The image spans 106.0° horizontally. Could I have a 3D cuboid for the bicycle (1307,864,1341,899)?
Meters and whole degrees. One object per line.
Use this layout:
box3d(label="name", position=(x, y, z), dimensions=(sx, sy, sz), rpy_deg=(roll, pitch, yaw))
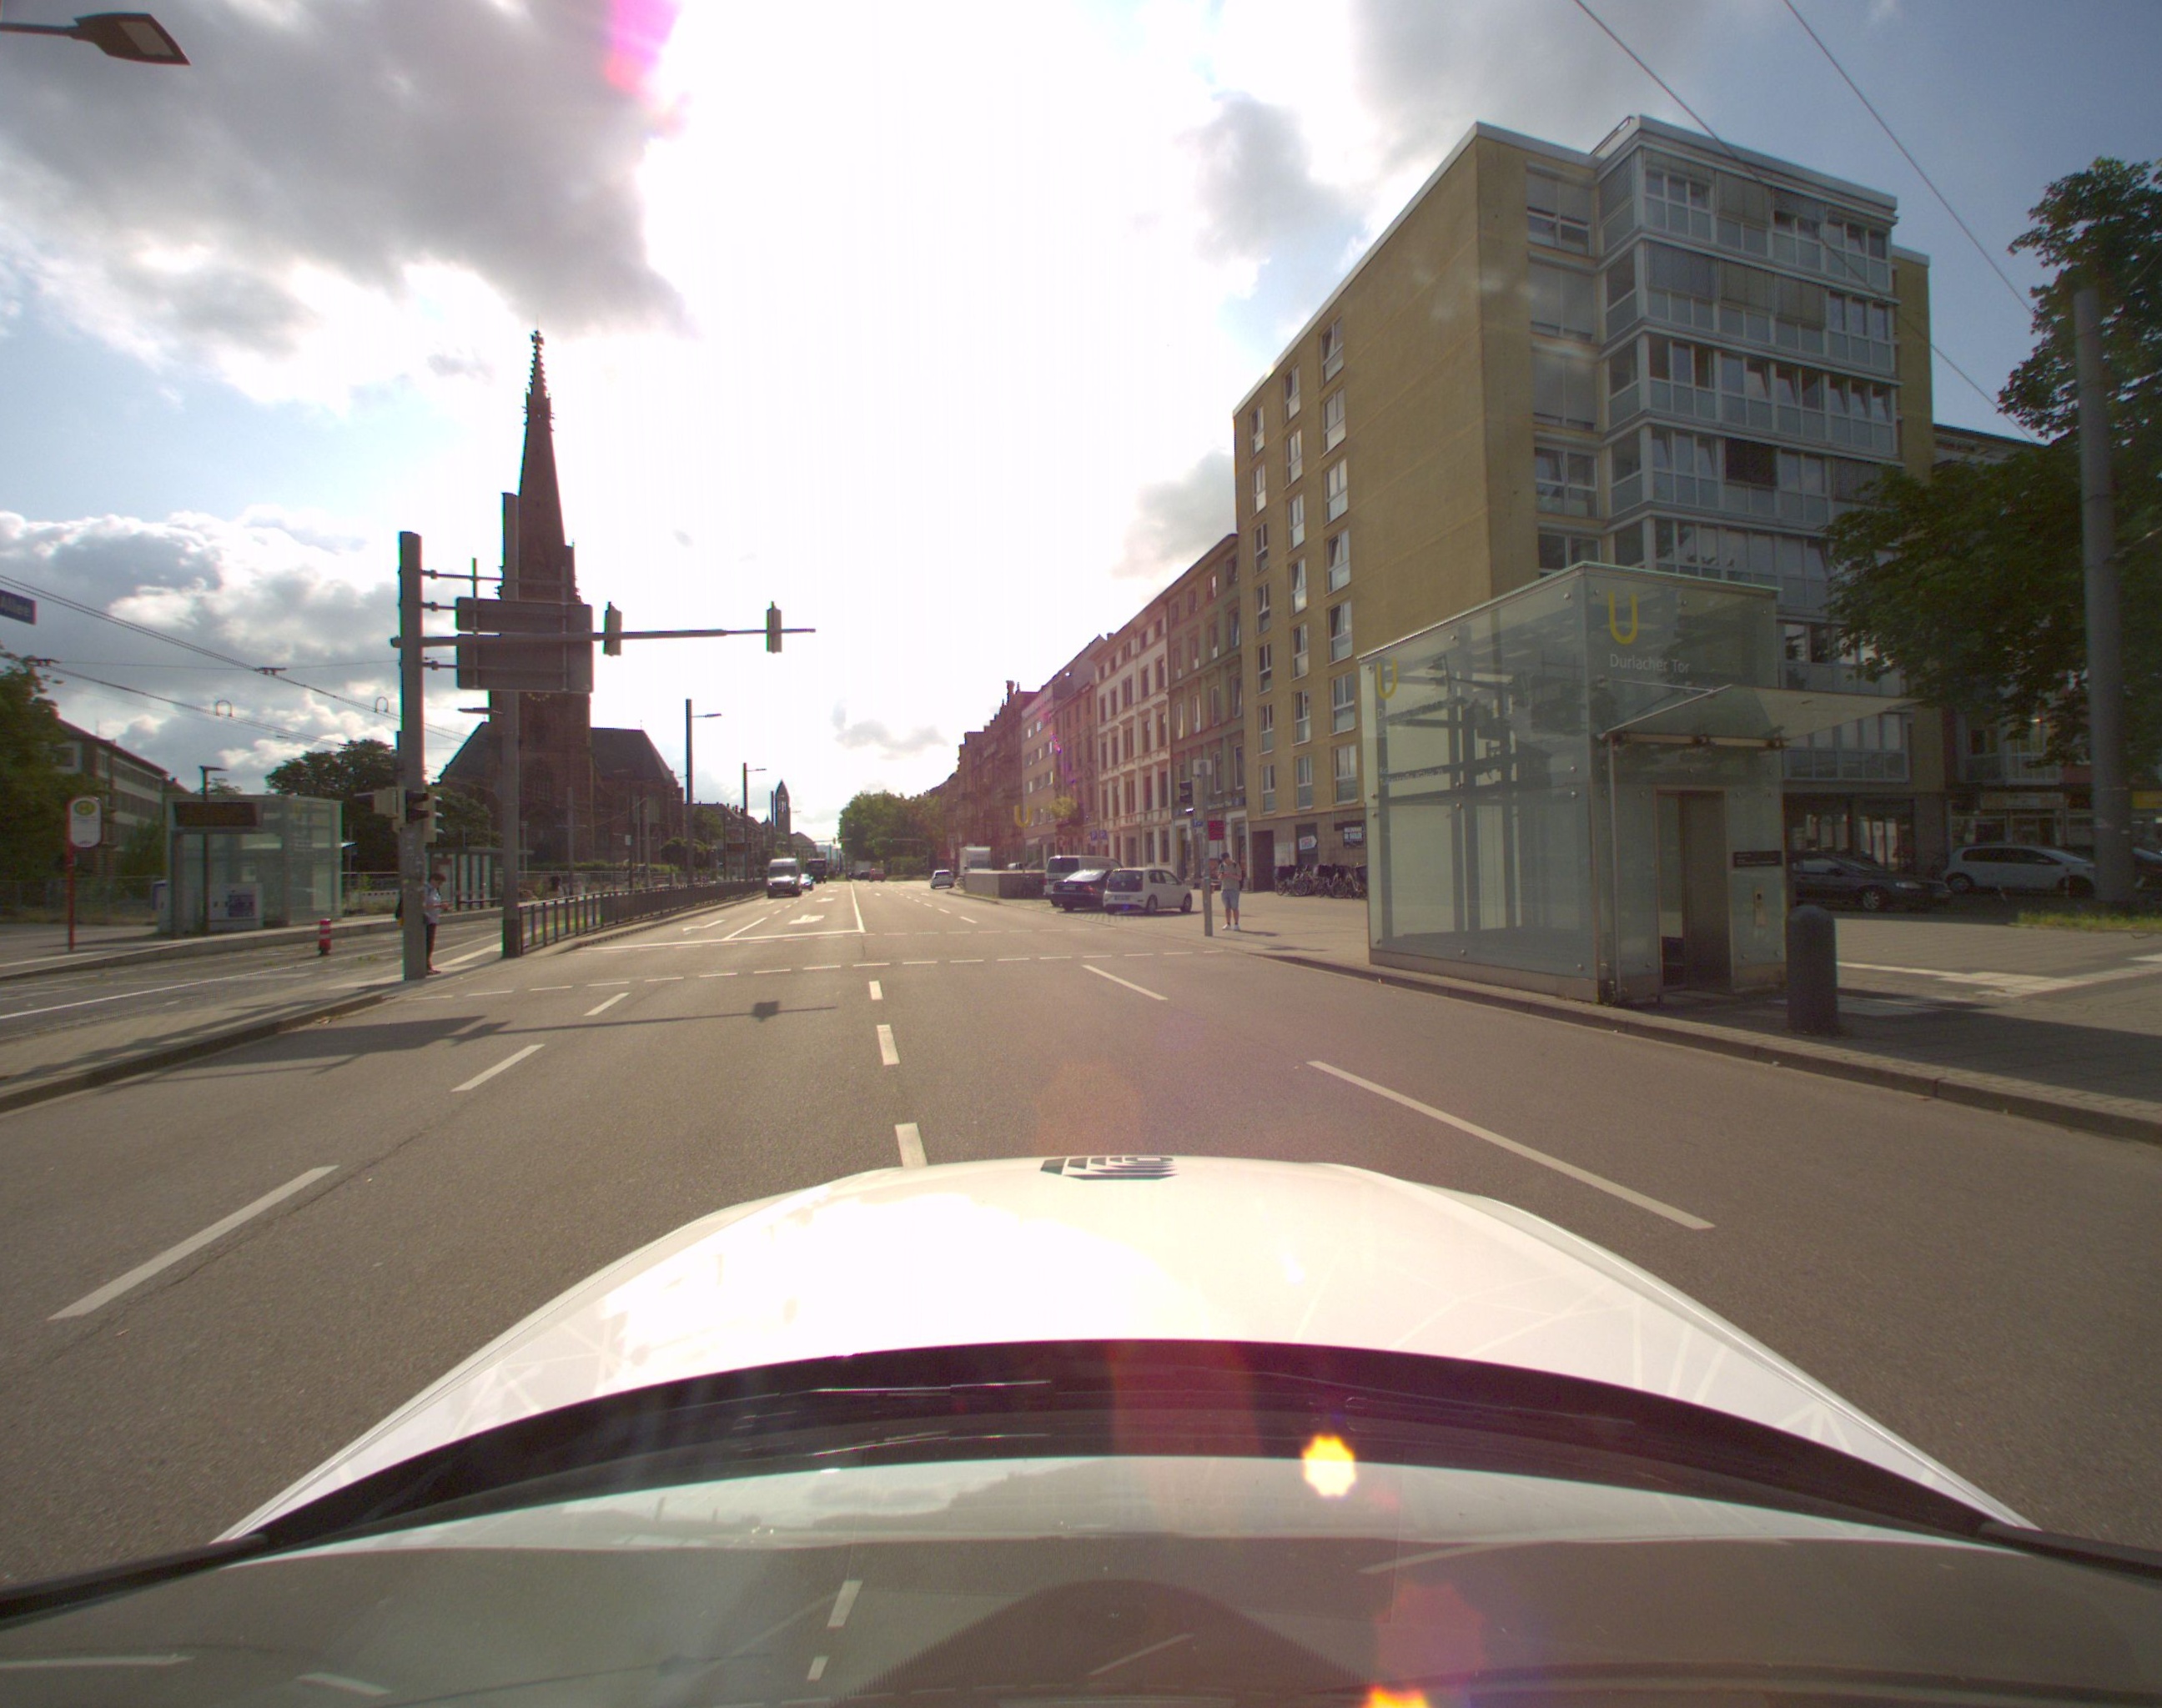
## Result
box3d(label="bicycle", position=(9.048, 1.001, 30.356), dimensions=(0.486, 1.201, 1.639), rpy_deg=(-3, 2, -11))

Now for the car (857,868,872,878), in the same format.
box3d(label="car", position=(-32.937, 2.896, 123.870), dimensions=(1.999, 1.508, 3.976), rpy_deg=(-1, -1, -18))

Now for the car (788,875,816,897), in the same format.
box3d(label="car", position=(-23.750, 2.726, 69.485), dimensions=(1.853, 1.455, 4.532), rpy_deg=(-4, 3, -15))

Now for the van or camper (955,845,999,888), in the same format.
box3d(label="van or camper", position=(-8.995, 0.925, 69.739), dimensions=(2.717, 3.330, 7.602), rpy_deg=(-3, 1, -14))

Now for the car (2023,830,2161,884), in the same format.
box3d(label="car", position=(31.936, 0.115, 24.965), dimensions=(1.694, 1.530, 3.553), rpy_deg=(-1, -3, -17))

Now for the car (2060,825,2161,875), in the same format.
box3d(label="car", position=(34.188, -0.153, 25.551), dimensions=(1.870, 1.464, 3.974), rpy_deg=(-1, -3, -18))

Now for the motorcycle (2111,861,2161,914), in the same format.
box3d(label="motorcycle", position=(19.535, 0.564, 14.169), dimensions=(1.870, 0.903, 0.609), rpy_deg=(-3, -1, 31))

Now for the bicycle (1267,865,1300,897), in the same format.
box3d(label="bicycle", position=(8.176, 1.073, 32.916), dimensions=(0.487, 1.201, 1.636), rpy_deg=(-3, 2, -16))

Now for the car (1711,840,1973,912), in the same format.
box3d(label="car", position=(18.745, 0.524, 20.373), dimensions=(1.999, 1.585, 4.366), rpy_deg=(-1, -1, -17))

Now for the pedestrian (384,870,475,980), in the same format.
box3d(label="pedestrian", position=(-10.701, 1.134, 13.417), dimensions=(0.845, 1.673, 0.790), rpy_deg=(-4, 1, -18))

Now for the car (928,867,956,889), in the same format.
box3d(label="car", position=(-11.279, 1.876, 65.908), dimensions=(1.794, 1.437, 4.322), rpy_deg=(-6, 2, -14))

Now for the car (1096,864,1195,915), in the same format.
box3d(label="car", position=(2.147, 1.097, 26.450), dimensions=(1.697, 1.440, 3.535), rpy_deg=(-1, 1, 33))

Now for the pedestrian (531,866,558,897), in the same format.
box3d(label="pedestrian", position=(-33.802, 1.732, 51.333), dimensions=(0.997, 1.799, 1.043), rpy_deg=(-1, 3, -11))

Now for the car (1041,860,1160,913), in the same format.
box3d(label="car", position=(0.818, 1.084, 28.980), dimensions=(1.866, 1.468, 5.097), rpy_deg=(-2, 1, 32))

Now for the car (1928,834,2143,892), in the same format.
box3d(label="car", position=(27.914, 0.321, 23.969), dimensions=(1.998, 1.530, 3.553), rpy_deg=(-1, -3, -17))

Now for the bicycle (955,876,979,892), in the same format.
box3d(label="bicycle", position=(-8.627, 2.245, 61.531), dimensions=(1.768, 1.085, 0.369), rpy_deg=(-2, 3, -28))

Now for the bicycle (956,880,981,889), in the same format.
box3d(label="bicycle", position=(-7.894, 2.166, 57.211), dimensions=(1.748, 0.586, 0.642), rpy_deg=(-2, 2, 34))

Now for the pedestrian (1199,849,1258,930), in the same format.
box3d(label="pedestrian", position=(3.349, 0.795, 18.500), dimensions=(1.000, 1.760, 0.776), rpy_deg=(0, -3, -40))

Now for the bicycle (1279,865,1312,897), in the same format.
box3d(label="bicycle", position=(8.692, 1.067, 33.107), dimensions=(0.487, 1.201, 1.636), rpy_deg=(-3, 2, -16))

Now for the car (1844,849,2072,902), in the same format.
box3d(label="car", position=(24.129, 0.631, 22.623), dimensions=(1.584, 1.327, 3.976), rpy_deg=(-1, -3, -17))

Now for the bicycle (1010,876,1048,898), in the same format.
box3d(label="bicycle", position=(-2.481, 1.586, 39.068), dimensions=(1.779, 1.004, 0.509), rpy_deg=(0, 1, -22))

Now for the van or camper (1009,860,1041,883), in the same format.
box3d(label="van or camper", position=(-5.619, 1.735, 80.772), dimensions=(1.998, 1.904, 5.269), rpy_deg=(-5, 2, -16))

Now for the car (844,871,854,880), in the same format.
box3d(label="car", position=(-44.333, 4.180, 155.768), dimensions=(1.774, 1.662, 3.978), rpy_deg=(-1, -2, -16))

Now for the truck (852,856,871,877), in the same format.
box3d(label="truck", position=(-38.316, 2.242, 142.266), dimensions=(3.176, 3.286, 7.257), rpy_deg=(-2, -2, -15))

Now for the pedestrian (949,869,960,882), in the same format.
box3d(label="pedestrian", position=(-13.166, 2.237, 84.760), dimensions=(0.811, 1.316, 0.749), rpy_deg=(0, 0, 35))

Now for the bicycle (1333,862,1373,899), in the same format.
box3d(label="bicycle", position=(9.495, 0.907, 28.500), dimensions=(0.547, 1.201, 1.639), rpy_deg=(-3, 2, -11))

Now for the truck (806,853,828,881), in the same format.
box3d(label="truck", position=(-36.608, 1.831, 113.185), dimensions=(2.468, 3.648, 7.409), rpy_deg=(-1, -1, -15))

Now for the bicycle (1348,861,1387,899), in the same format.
box3d(label="bicycle", position=(10.050, 0.896, 28.589), dimensions=(0.486, 1.201, 1.639), rpy_deg=(-3, 2, -11))

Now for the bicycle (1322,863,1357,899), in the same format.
box3d(label="bicycle", position=(9.611, 0.984, 30.312), dimensions=(0.486, 1.201, 1.639), rpy_deg=(-3, 2, -11))

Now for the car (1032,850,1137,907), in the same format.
box3d(label="car", position=(0.245, 0.937, 33.056), dimensions=(2.053, 2.084, 4.930), rpy_deg=(-2, 0, 29))

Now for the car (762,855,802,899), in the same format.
box3d(label="car", position=(-20.127, 1.469, 54.984), dimensions=(1.998, 2.621, 5.549), rpy_deg=(-4, 2, -16))

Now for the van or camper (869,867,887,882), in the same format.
box3d(label="van or camper", position=(-28.409, 2.830, 113.779), dimensions=(2.016, 1.915, 4.491), rpy_deg=(-1, -3, -20))
